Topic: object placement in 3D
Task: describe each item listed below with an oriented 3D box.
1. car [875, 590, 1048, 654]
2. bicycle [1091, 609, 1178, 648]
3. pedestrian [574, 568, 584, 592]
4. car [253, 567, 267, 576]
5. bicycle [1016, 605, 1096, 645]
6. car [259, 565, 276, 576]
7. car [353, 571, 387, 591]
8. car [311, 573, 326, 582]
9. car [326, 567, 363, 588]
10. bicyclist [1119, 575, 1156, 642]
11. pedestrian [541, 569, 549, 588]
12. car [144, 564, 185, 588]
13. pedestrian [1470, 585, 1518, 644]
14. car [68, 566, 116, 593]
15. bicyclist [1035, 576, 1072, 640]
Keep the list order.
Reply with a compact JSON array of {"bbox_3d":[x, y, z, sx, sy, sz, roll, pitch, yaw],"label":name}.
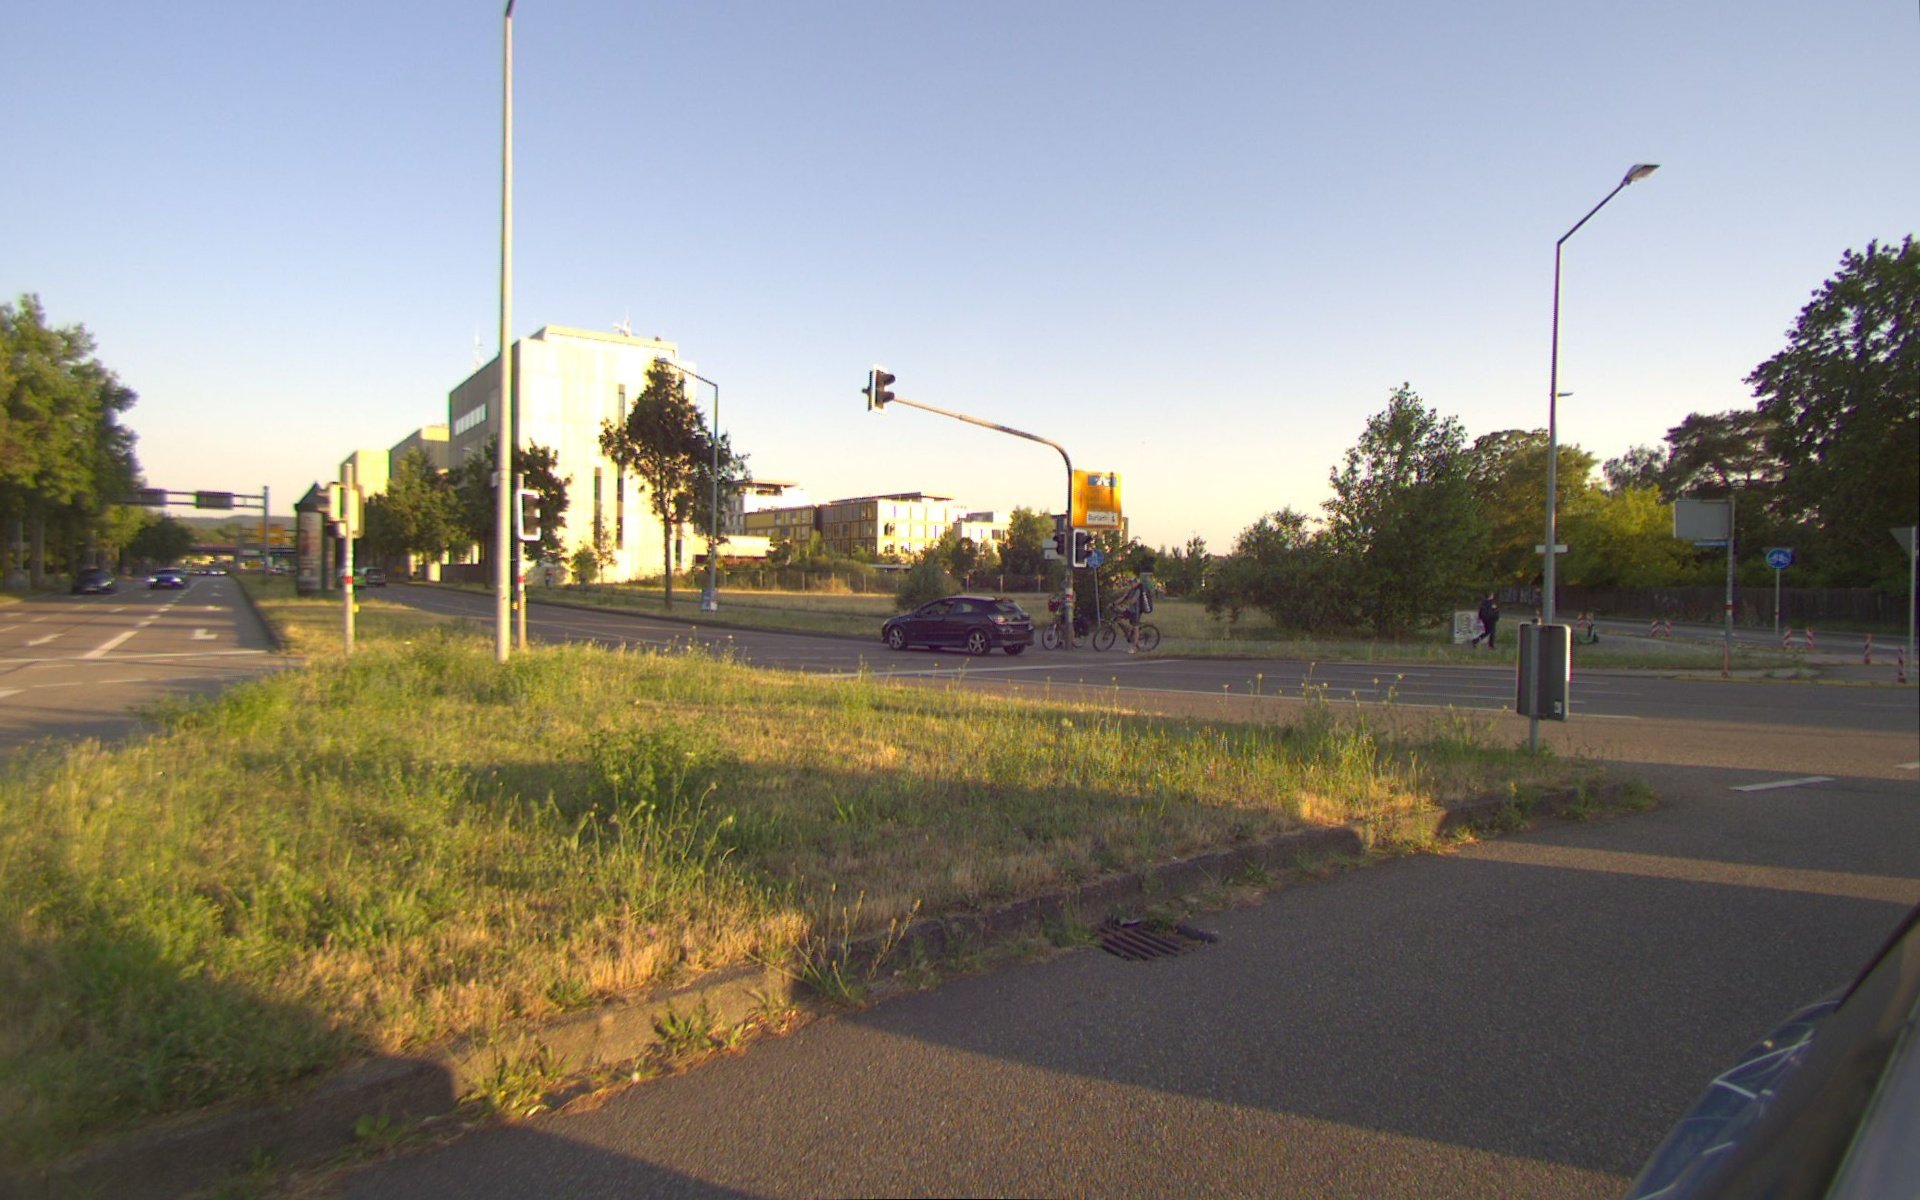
[{"bbox_3d":[-0.004,0.479,25.208,4.101,1.396,1.729,2,1,36],"label":"car"},{"bbox_3d":[4.529,0.735,26.246,2.100,0.975,0.711,1,1,-15],"label":"bicycle"},{"bbox_3d":[-26.958,-1.398,71.580,0.555,1.705,0.520,0,1,-35],"label":"pedestrian"},{"bbox_3d":[-132.265,-5.472,191.292,1.963,1.649,3.998,0,1,-37],"label":"car"},{"bbox_3d":[2.602,0.662,27.351,2.065,0.975,0.711,-2,2,-27],"label":"bicycle"},{"bbox_3d":[-105.586,-4.545,154.298,1.963,1.649,3.998,0,1,-38],"label":"car"},{"bbox_3d":[-49.428,-1.630,84.758,1.703,1.597,4.324,0,1,-40],"label":"car"},{"bbox_3d":[-111.206,-3.856,175.484,1.963,1.445,4.197,0,2,-36],"label":"car"},{"bbox_3d":[-44.890,-1.670,73.756,1.660,1.438,3.995,0,1,-40],"label":"car"},{"bbox_3d":[4.601,0.213,26.267,0.674,1.711,0.727,1,1,-13],"label":"bicyclist"},{"bbox_3d":[-33.069,-1.694,80.685,0.492,1.531,0.530,0,1,-35],"label":"pedestrian"},{"bbox_3d":[-53.391,-1.635,67.971,1.963,1.524,4.771,0,1,-36],"label":"car"},{"bbox_3d":[15.126,0.400,28.695,0.977,1.610,0.923,1,1,13],"label":"pedestrian"},{"bbox_3d":[-50.541,-1.219,59.011,1.964,1.524,4.617,0,1,-39],"label":"car"},{"bbox_3d":[2.516,0.211,27.333,0.675,1.711,0.726,0,1,-29],"label":"bicyclist"}]
